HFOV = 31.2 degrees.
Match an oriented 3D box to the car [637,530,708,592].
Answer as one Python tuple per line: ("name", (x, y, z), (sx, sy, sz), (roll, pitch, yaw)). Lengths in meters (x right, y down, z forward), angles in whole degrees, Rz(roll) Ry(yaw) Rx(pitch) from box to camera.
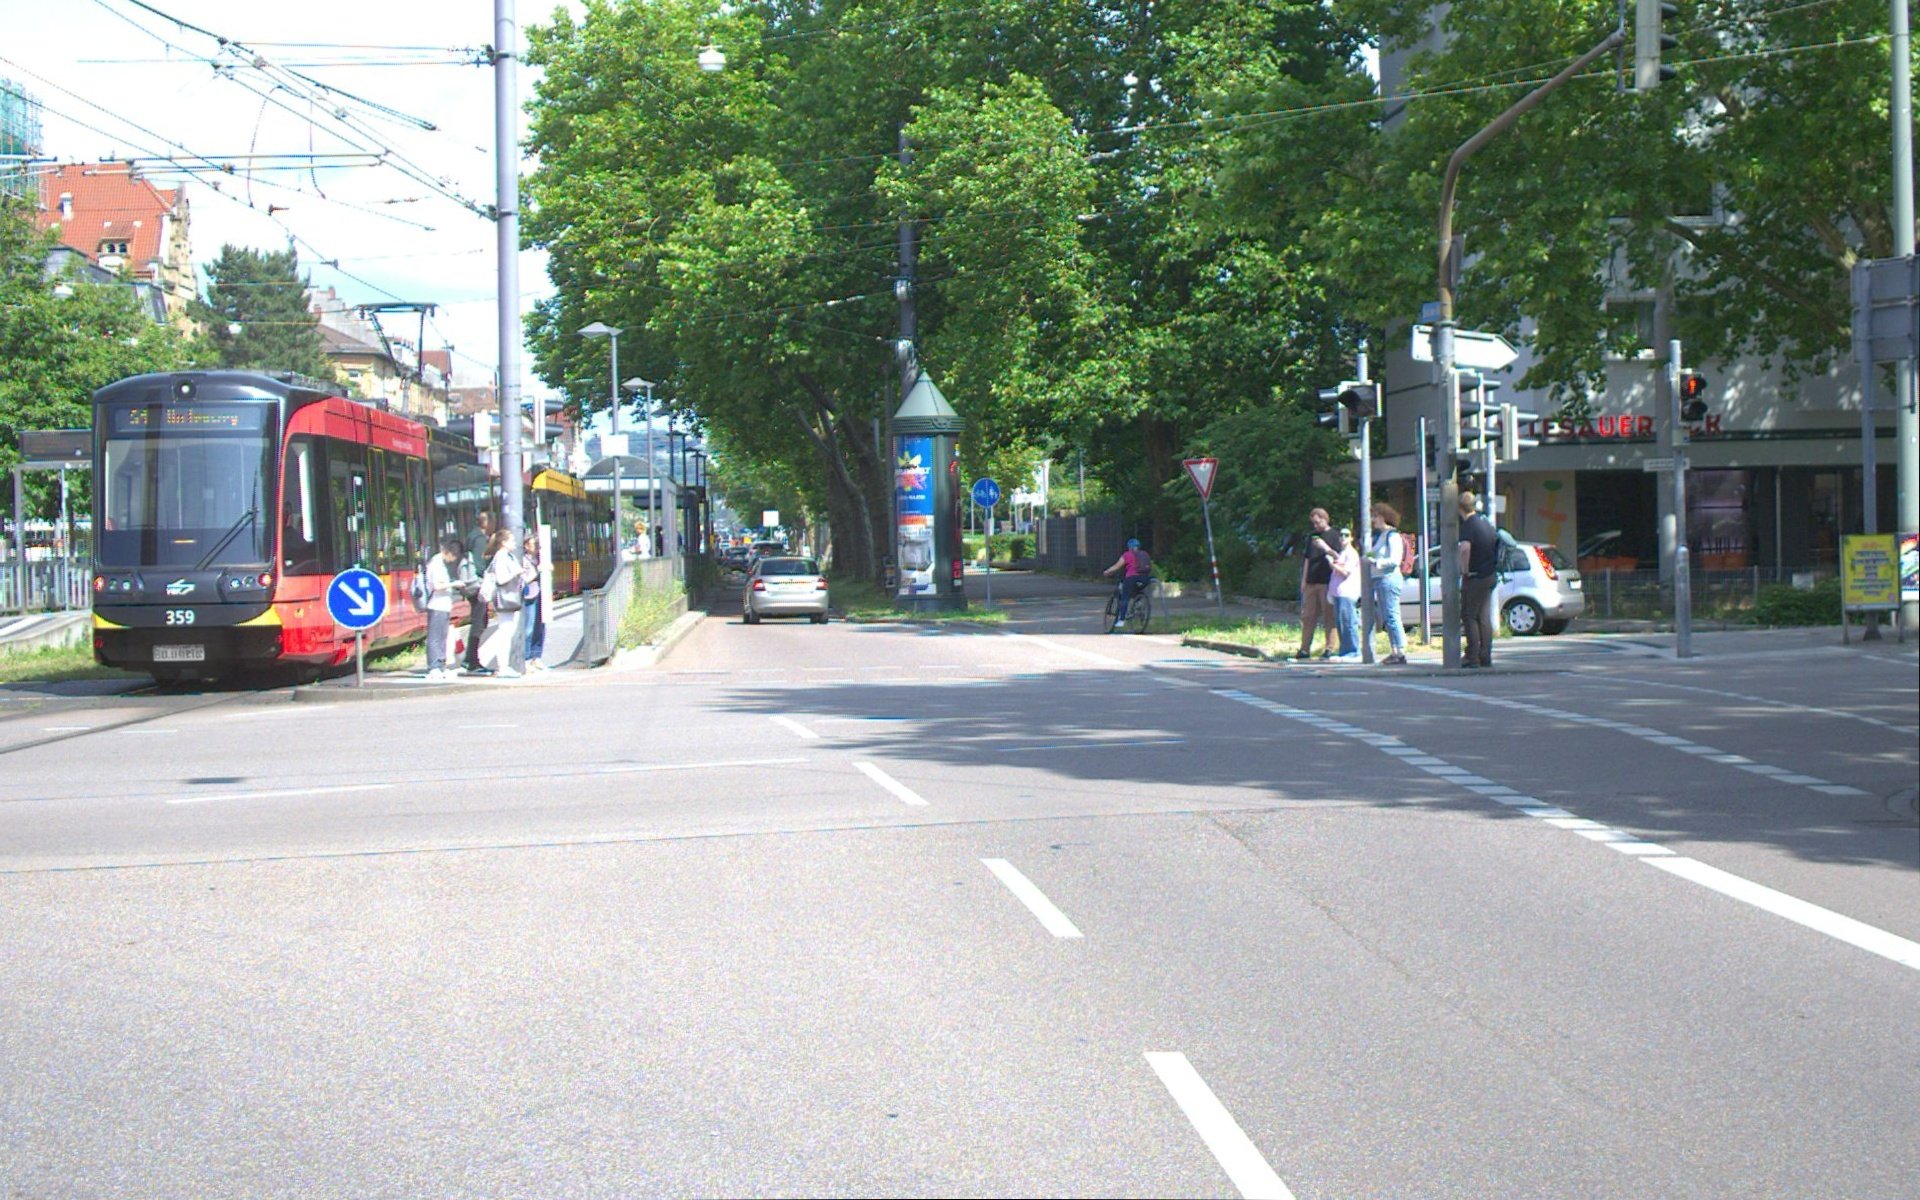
("car", (-8.685, -1.206, 104.023), (1.815, 1.798, 4.000), (-1, 1, -1))

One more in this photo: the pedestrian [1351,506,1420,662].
("pedestrian", (4.790, -0.180, 38.694), (0.527, 1.729, 0.556), (-2, 1, -24))

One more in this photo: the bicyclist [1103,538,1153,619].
("bicyclist", (2.917, -0.377, 59.716), (0.615, 1.380, 0.879), (-2, 1, -12))

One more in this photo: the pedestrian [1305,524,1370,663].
("pedestrian", (4.394, -0.082, 40.071), (0.510, 1.592, 0.556), (-2, 1, -24))

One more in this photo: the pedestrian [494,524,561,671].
("pedestrian", (-5.101, -0.035, 40.596), (0.669, 1.697, 0.648), (-1, 1, -1))

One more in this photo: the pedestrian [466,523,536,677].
("pedestrian", (-5.147, -0.006, 38.566), (0.669, 1.697, 0.648), (-1, 1, -1))

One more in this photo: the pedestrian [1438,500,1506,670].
("pedestrian", (5.540, -0.160, 37.204), (0.481, 1.819, 0.555), (-1, 1, 39))

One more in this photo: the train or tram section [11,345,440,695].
("train or tram section", (-8.467, -0.941, 41.297), (2.796, 3.548, 11.378), (-1, 1, -1))

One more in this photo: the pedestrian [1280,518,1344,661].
("pedestrian", (4.151, -0.129, 40.589), (0.510, 1.665, 0.556), (-2, 1, -24))

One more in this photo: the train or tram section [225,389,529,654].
("train or tram section", (-8.674, -1.188, 52.592), (2.806, 3.548, 11.182), (-1, 1, -1))

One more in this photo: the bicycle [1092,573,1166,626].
("bicycle", (2.922, -0.019, 59.725), (0.615, 0.877, 2.538), (-2, 1, -12))

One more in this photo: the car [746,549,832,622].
("car", (-3.644, -0.330, 73.481), (1.748, 1.448, 3.606), (-1, 1, -3))

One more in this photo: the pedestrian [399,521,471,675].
("pedestrian", (-5.897, -0.025, 38.633), (0.669, 1.697, 0.648), (-1, 1, -1))

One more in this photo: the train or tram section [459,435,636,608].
("train or tram section", (-8.861, -1.694, 74.793), (2.766, 3.471, 8.907), (-1, 1, -1))

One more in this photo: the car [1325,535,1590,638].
("car", (7.620, -0.202, 52.611), (3.665, 1.479, 1.734), (-1, 1, 24))

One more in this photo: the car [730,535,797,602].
("car", (-6.072, -0.989, 105.837), (1.993, 2.007, 4.001), (0, 1, -4))

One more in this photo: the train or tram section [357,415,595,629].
("train or tram section", (-8.828, -1.443, 64.233), (2.806, 3.548, 12.157), (-1, 1, -1))
